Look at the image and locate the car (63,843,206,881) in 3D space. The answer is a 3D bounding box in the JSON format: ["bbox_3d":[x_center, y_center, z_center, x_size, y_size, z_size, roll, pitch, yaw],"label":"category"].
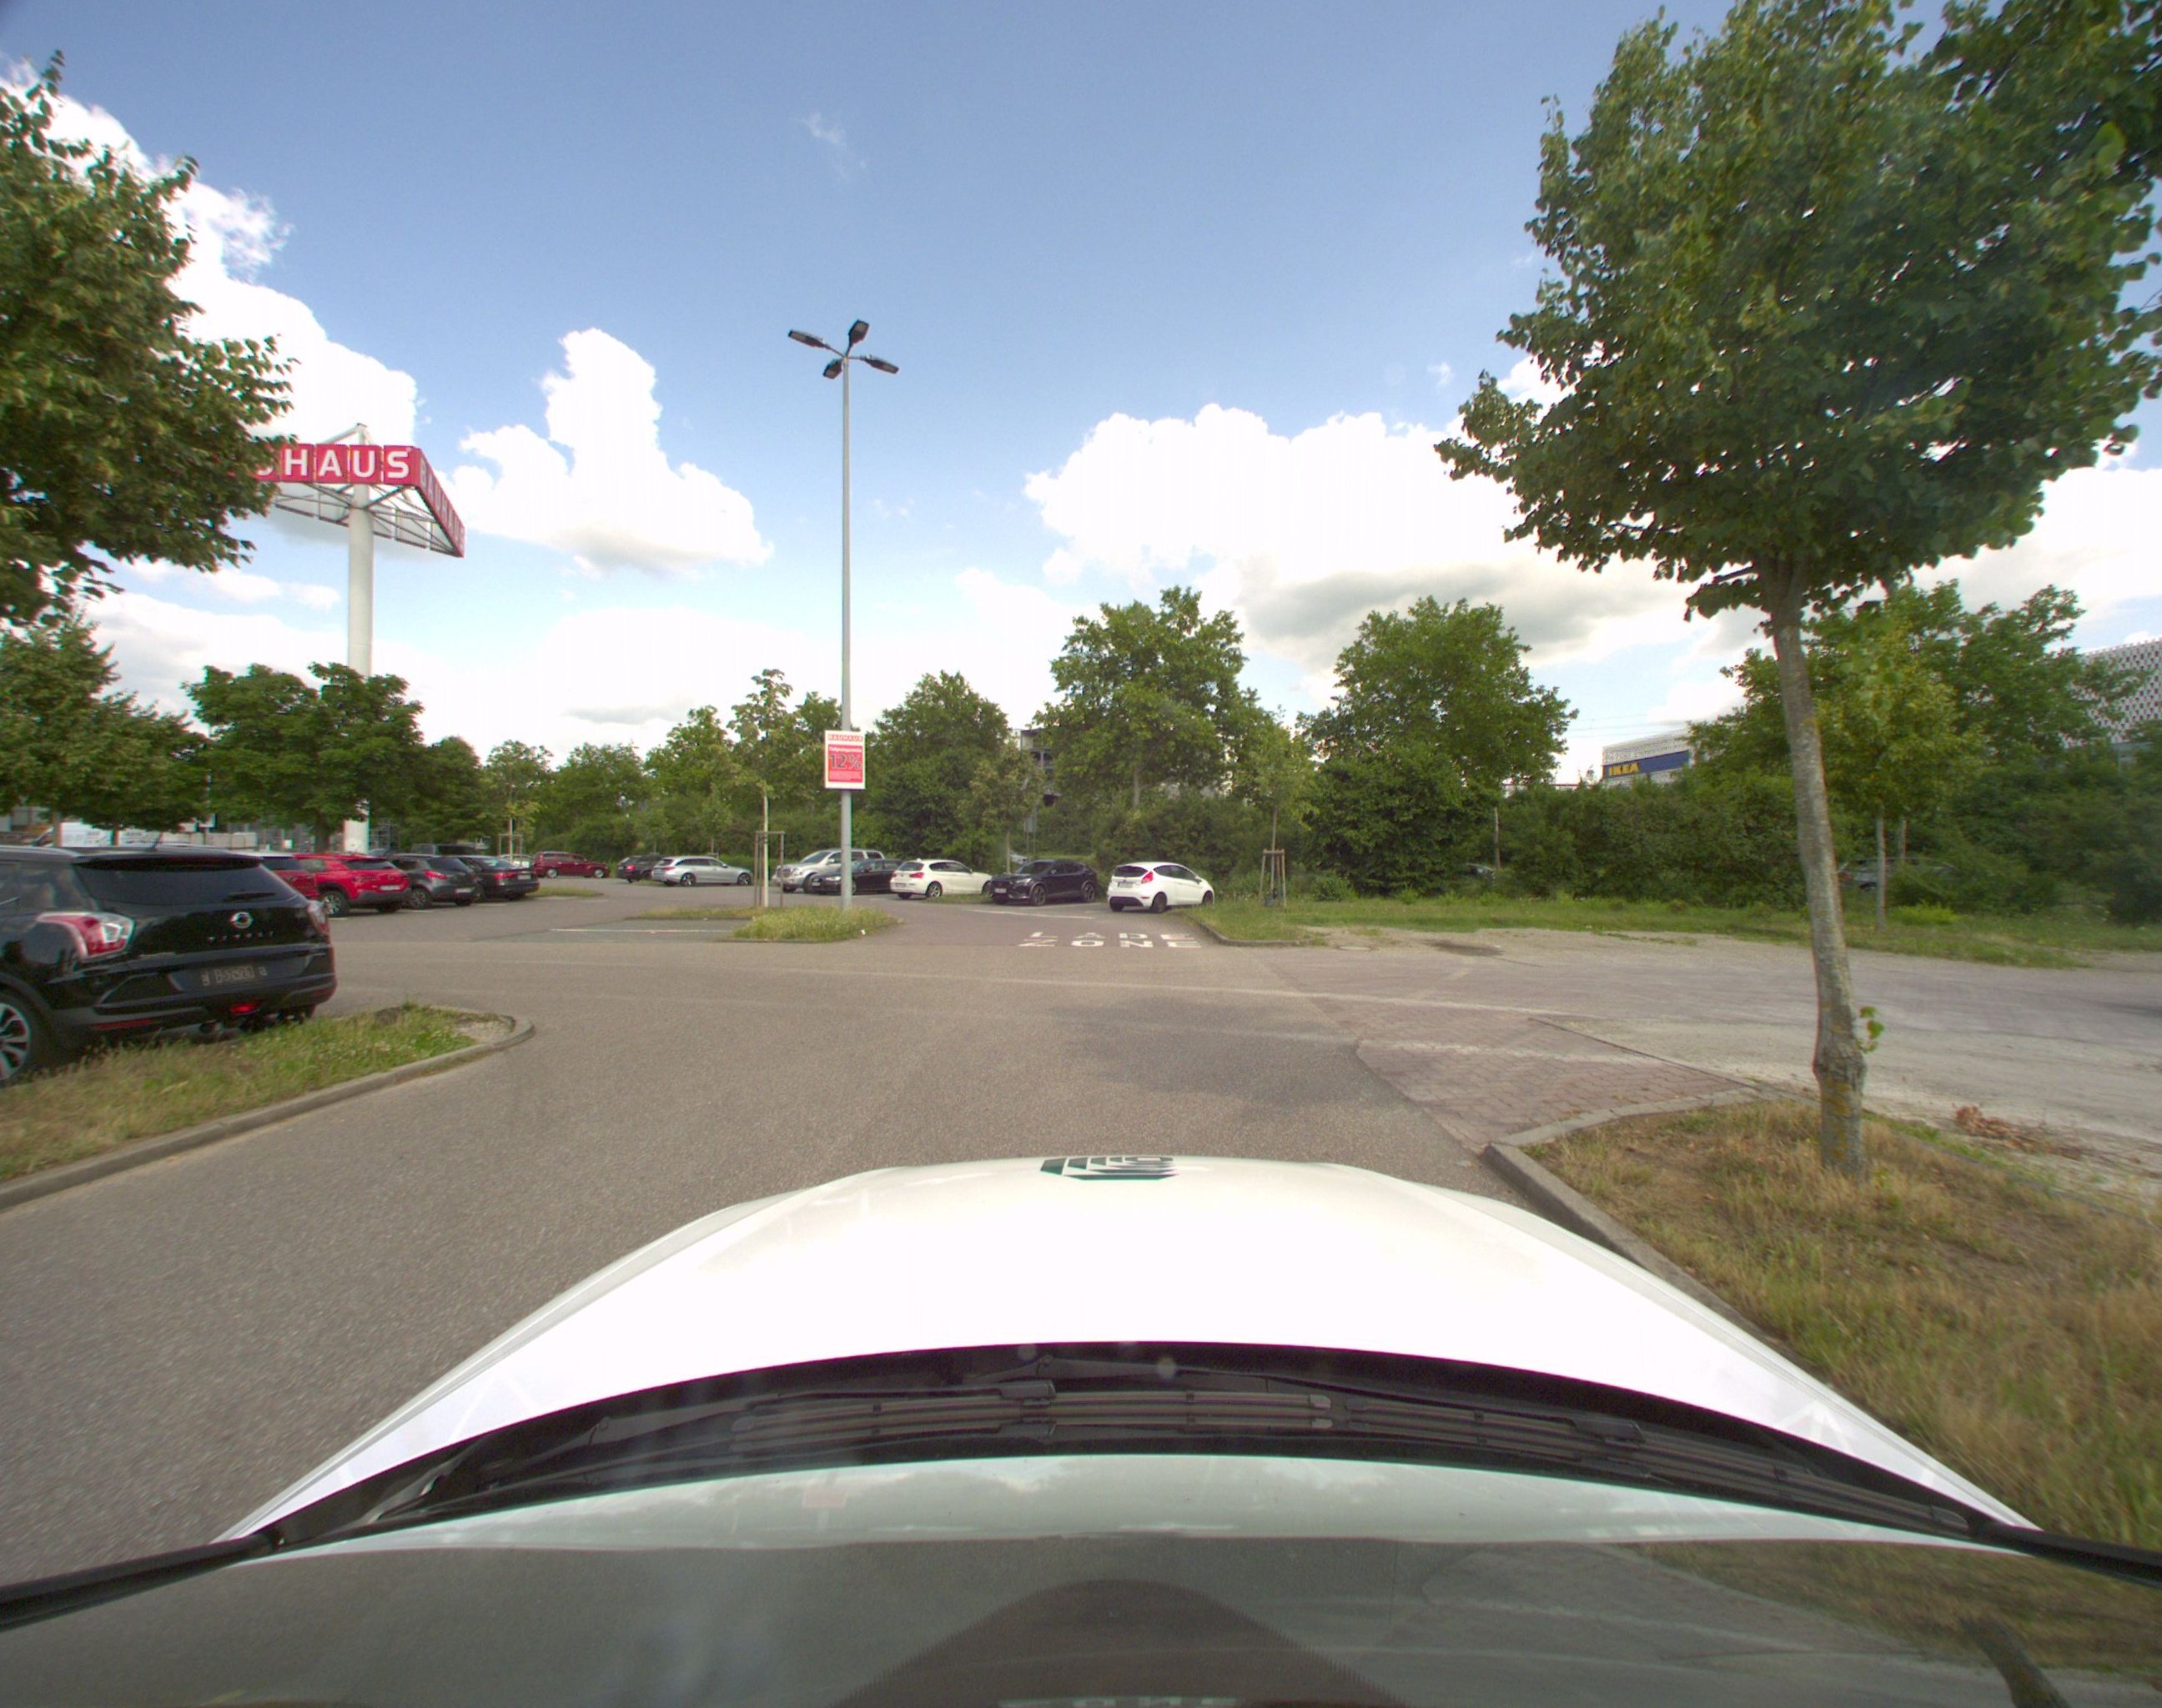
[{"bbox_3d":[-41.333,0.326,35.647,3.974,1.596,1.910,0,0,0],"label":"car"}]

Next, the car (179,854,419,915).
[{"bbox_3d":[-18.802,0.703,19.715,4.061,1.399,1.766,0,0,0],"label":"car"}]

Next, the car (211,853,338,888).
[{"bbox_3d":[-35.410,0.706,35.824,3.751,1.446,1.724,0,0,-2],"label":"car"}]

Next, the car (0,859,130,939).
[{"bbox_3d":[-20.420,0.779,14.856,3.864,1.369,1.727,0,0,-4],"label":"car"}]

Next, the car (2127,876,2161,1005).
[{"bbox_3d":[12.706,0.906,7.315,3.739,1.321,1.622,0,0,29],"label":"car"}]

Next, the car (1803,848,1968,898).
[{"bbox_3d":[28.927,0.636,29.479,3.948,1.715,2.013,0,0,35],"label":"car"}]

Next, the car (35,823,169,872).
[{"bbox_3d":[-52.650,-0.335,43.850,4.694,2.510,2.054,1,-1,2],"label":"car"}]

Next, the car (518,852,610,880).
[{"bbox_3d":[-31.570,0.702,49.846,1.974,1.596,4.348,0,0,35],"label":"car"}]

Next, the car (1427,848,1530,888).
[{"bbox_3d":[18.102,0.596,37.109,3.948,1.715,2.013,0,0,35],"label":"car"}]

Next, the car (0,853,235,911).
[{"bbox_3d":[-24.314,0.668,20.368,4.254,1.353,1.894,0,0,-1],"label":"car"}]

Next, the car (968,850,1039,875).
[{"bbox_3d":[-5.237,0.550,54.754,4.682,1.589,1.759,0,0,33],"label":"car"}]

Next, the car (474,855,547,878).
[{"bbox_3d":[-37.767,0.809,53.977,1.613,1.468,3.667,-2,-2,36],"label":"car"}]

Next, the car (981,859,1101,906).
[{"bbox_3d":[-1.252,0.903,27.453,1.711,1.410,4.270,0,0,37],"label":"car"}]

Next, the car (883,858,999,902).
[{"bbox_3d":[-5.055,0.896,29.903,1.668,1.509,4.107,-1,-1,40],"label":"car"}]

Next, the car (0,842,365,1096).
[{"bbox_3d":[-8.158,0.725,6.217,3.932,1.624,1.738,0,0,4],"label":"car"}]

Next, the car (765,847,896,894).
[{"bbox_3d":[-10.547,0.648,34.625,1.965,1.842,5.180,0,0,35],"label":"car"}]

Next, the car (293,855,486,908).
[{"bbox_3d":[-18.800,0.721,22.242,3.970,1.369,1.581,0,0,2],"label":"car"}]

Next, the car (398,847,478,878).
[{"bbox_3d":[-43.555,0.648,55.286,1.930,2.019,4.065,0,-2,7],"label":"car"}]

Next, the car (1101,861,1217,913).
[{"bbox_3d":[2.382,0.916,24.258,1.649,1.411,3.579,0,0,41],"label":"car"}]

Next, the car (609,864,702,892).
[{"bbox_3d":[-22.222,1.227,42.662,1.677,1.381,4.025,-2,-1,35],"label":"car"}]

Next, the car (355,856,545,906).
[{"bbox_3d":[-19.143,0.782,24.821,4.507,1.432,1.774,0,0,4],"label":"car"}]

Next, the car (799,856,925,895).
[{"bbox_3d":[-8.751,0.826,32.889,1.816,1.451,4.755,0,0,38],"label":"car"}]

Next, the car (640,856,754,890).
[{"bbox_3d":[-18.482,0.873,39.373,1.762,1.504,4.684,0,0,36],"label":"car"}]

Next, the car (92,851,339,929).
[{"bbox_3d":[-18.456,0.734,17.485,3.425,1.581,1.710,0,0,0],"label":"car"}]
